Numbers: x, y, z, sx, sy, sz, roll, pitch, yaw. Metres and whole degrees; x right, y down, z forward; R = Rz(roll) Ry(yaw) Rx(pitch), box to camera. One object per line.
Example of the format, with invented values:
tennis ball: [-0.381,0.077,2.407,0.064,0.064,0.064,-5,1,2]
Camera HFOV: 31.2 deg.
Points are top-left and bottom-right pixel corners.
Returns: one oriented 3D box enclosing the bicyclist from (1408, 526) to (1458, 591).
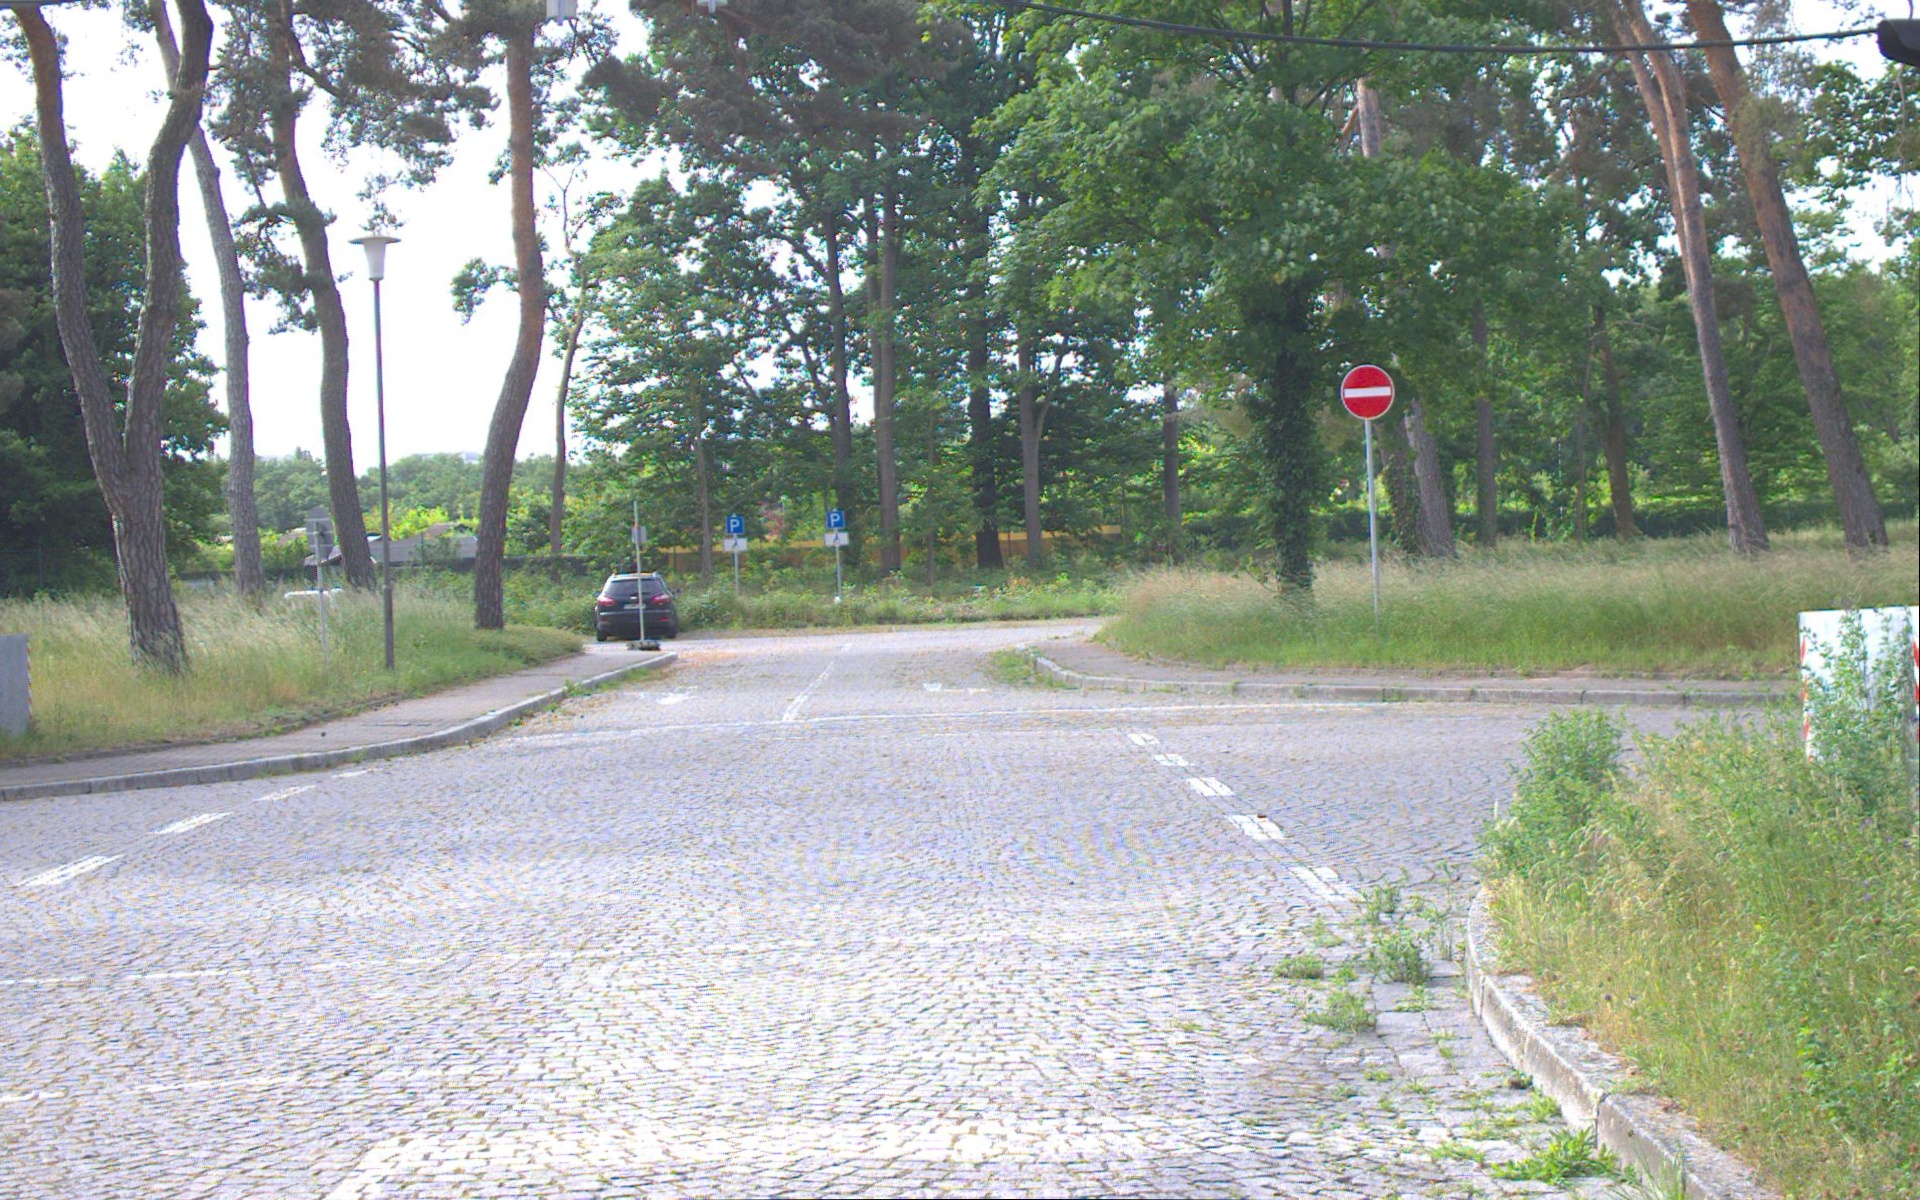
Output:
bicyclist: [11.185,-0.984,81.333,0.974,1.505,0.807,-2,1,-4]

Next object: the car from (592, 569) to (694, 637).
car: [-7.332,0.044,79.850,1.993,1.503,4.000,0,1,0]

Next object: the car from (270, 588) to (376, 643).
car: [-14.942,0.343,80.791,1.689,1.152,4.000,-2,1,0]

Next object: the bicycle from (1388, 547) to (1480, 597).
bicycle: [11.202,-0.668,81.324,1.986,1.091,0.810,-2,1,-4]
